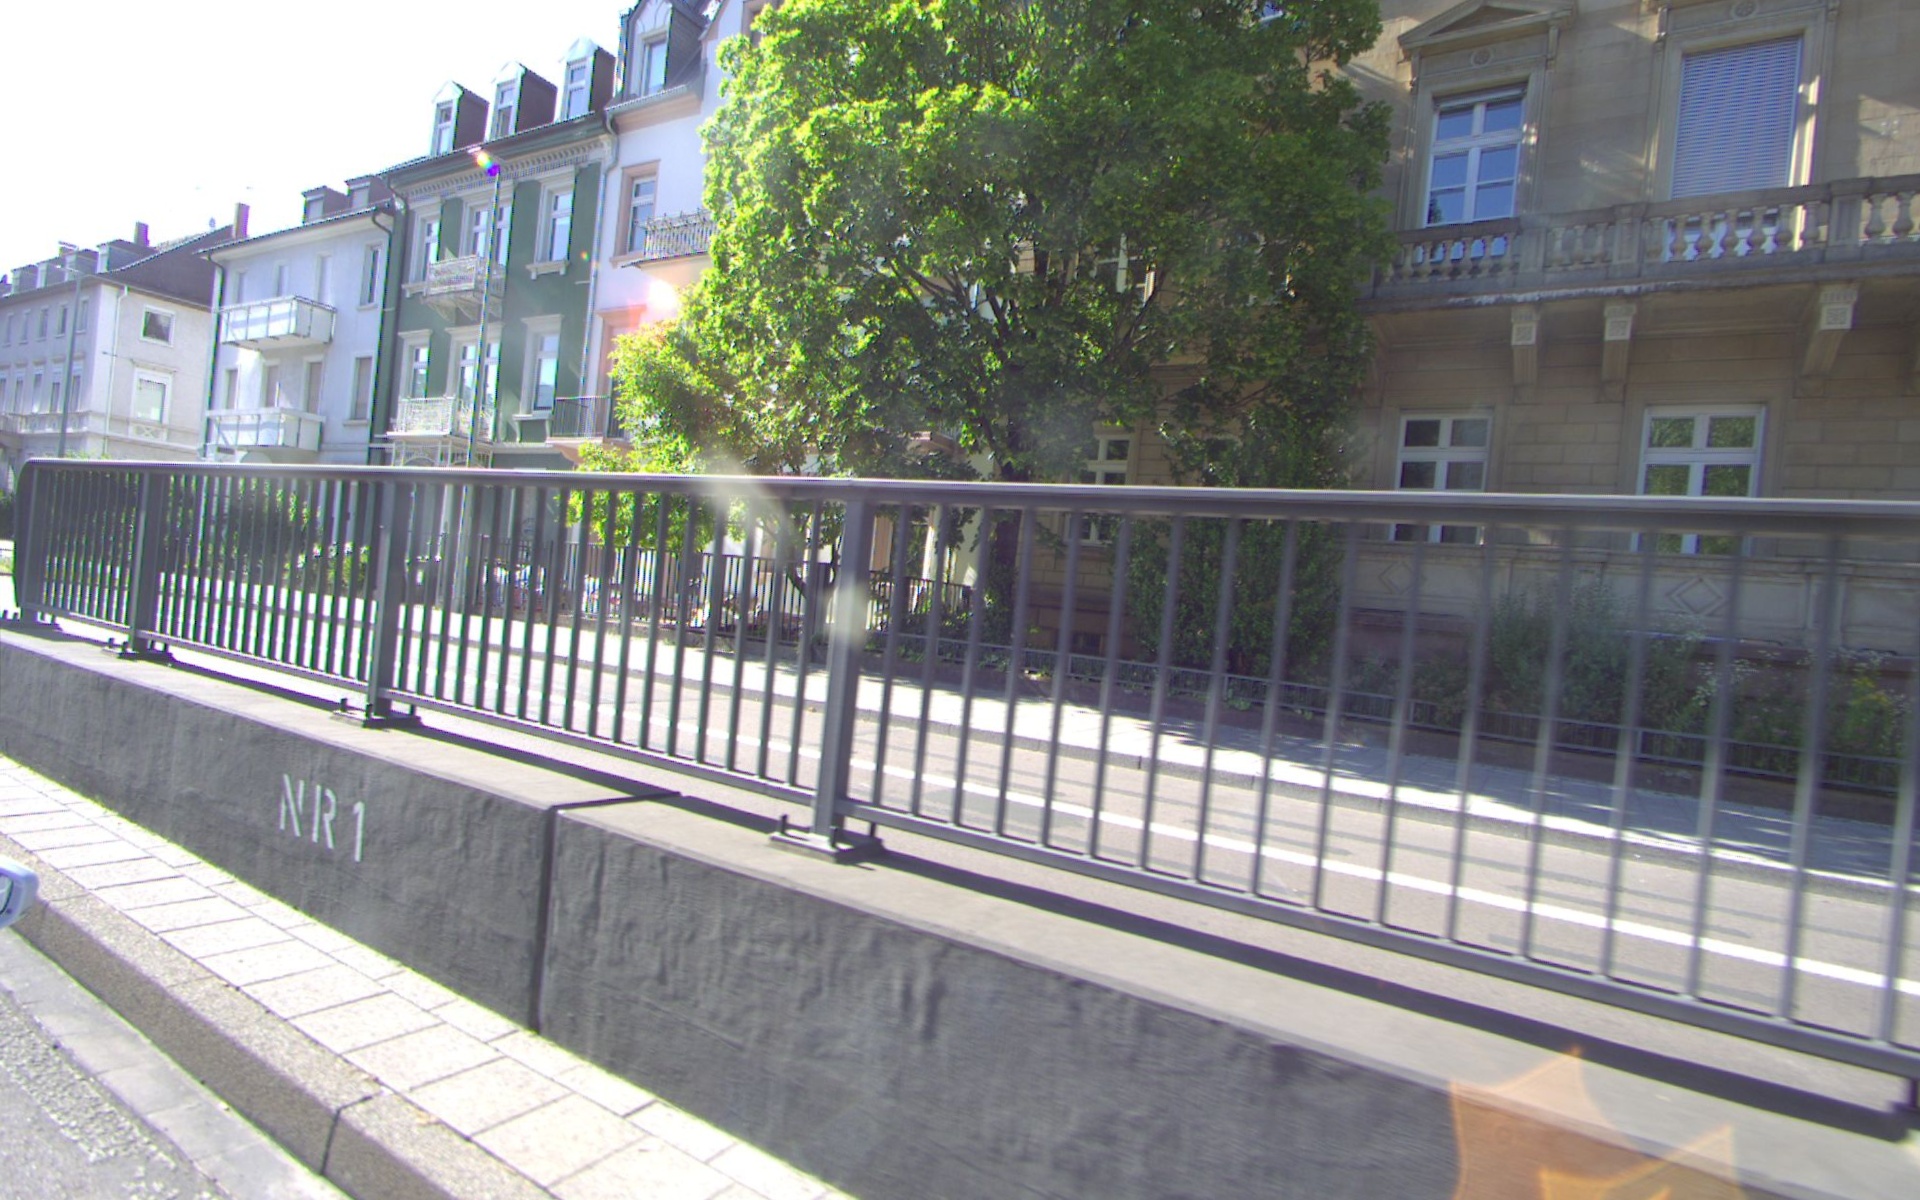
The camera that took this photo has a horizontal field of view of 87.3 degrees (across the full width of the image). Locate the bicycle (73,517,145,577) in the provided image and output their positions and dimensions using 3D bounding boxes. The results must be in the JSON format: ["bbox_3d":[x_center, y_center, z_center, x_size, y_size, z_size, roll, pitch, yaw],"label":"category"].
[{"bbox_3d":[-24.414,-1.538,28.842,2.450,1.460,0.709,6,-2,32],"label":"bicycle"}]
